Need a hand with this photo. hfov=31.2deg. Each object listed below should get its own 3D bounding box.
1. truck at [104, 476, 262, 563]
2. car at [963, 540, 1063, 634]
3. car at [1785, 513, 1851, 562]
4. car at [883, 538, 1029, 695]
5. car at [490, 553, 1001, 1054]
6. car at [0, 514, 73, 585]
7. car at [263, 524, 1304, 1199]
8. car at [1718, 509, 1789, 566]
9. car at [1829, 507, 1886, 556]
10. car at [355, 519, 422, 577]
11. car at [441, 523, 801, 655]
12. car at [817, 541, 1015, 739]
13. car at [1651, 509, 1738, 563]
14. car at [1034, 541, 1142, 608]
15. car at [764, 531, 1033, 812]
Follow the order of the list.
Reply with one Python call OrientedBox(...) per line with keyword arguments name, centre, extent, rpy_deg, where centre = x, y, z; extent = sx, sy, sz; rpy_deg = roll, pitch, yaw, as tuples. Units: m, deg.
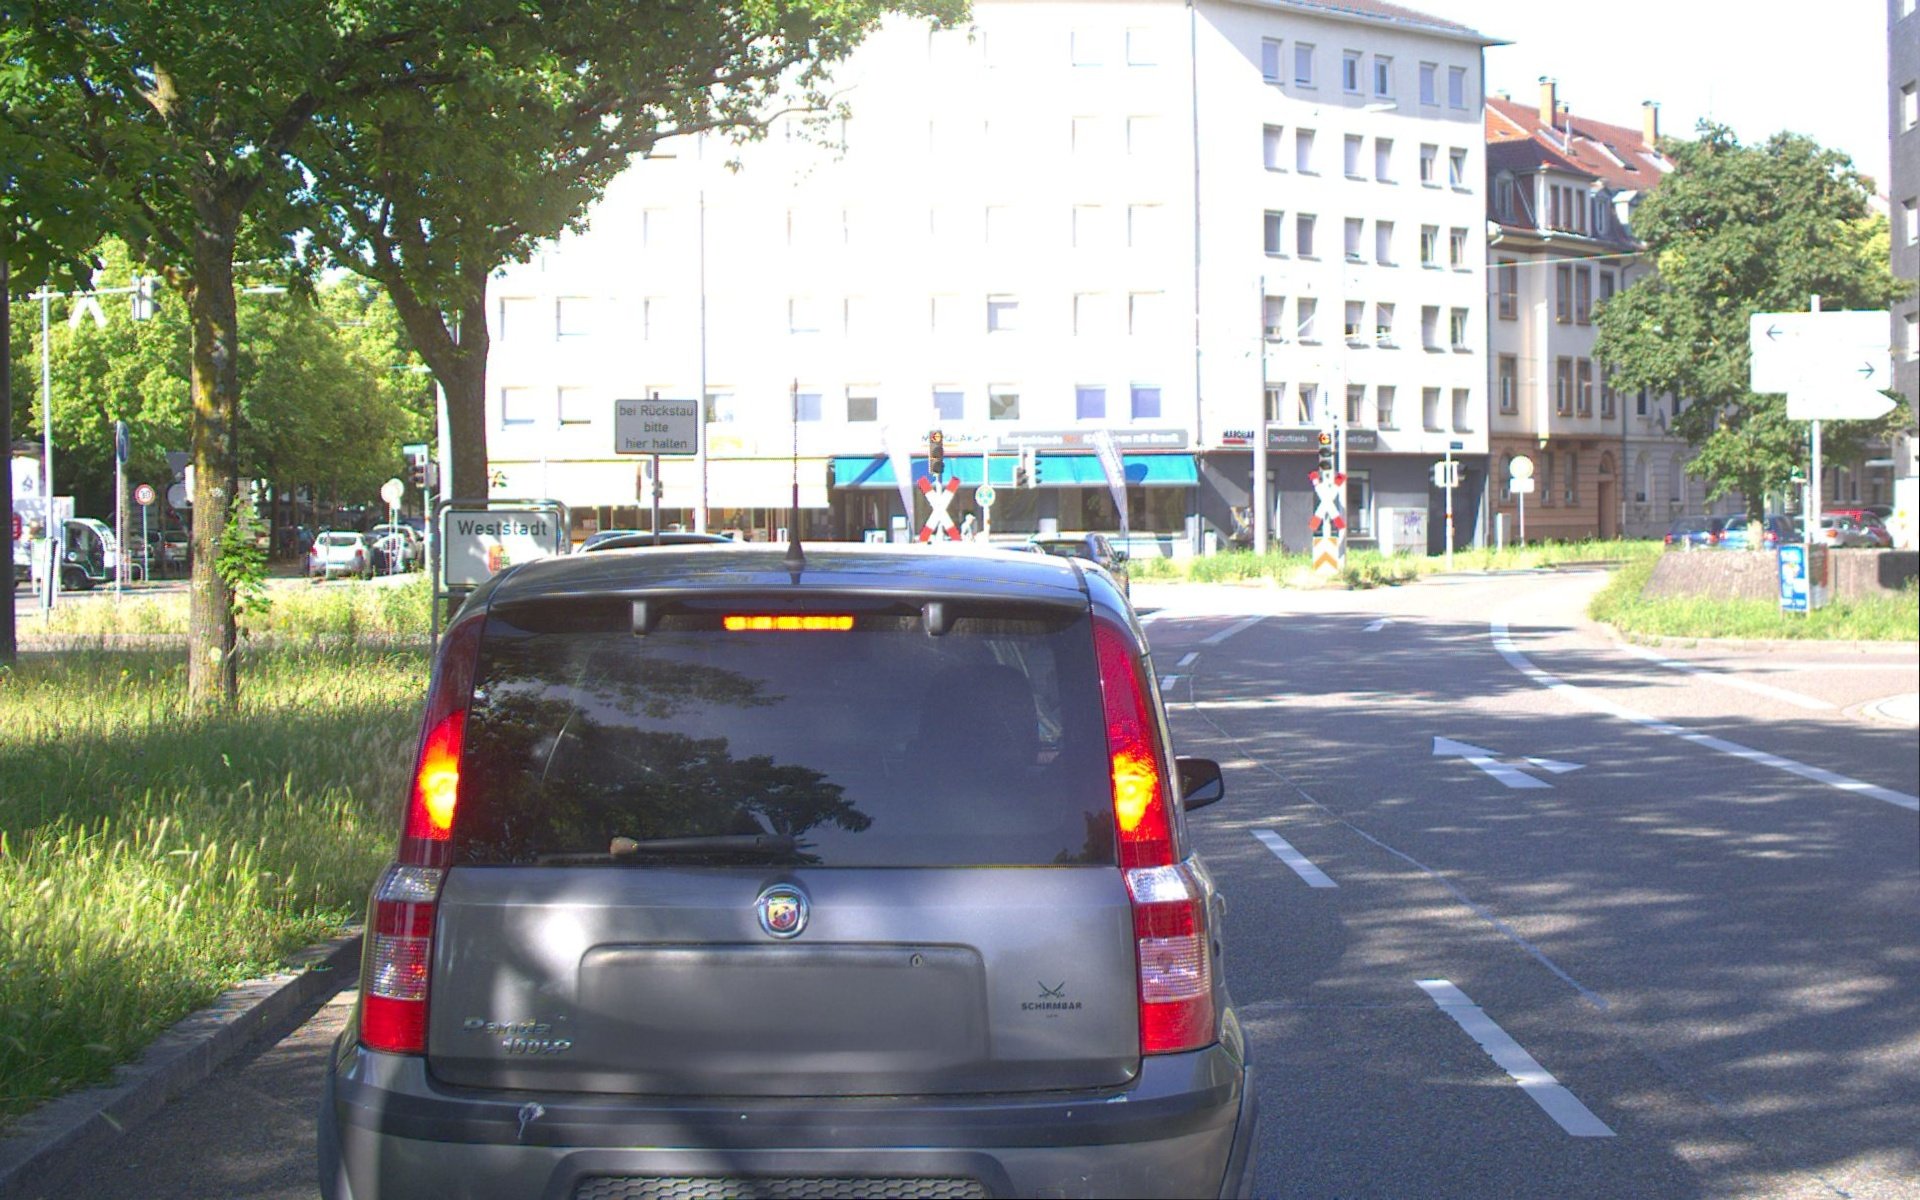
OrientedBox(name="truck", centre=(-28.886, -2.992, 127.772), extent=(5.485, 3.158, 2.340), rpy_deg=(0, 1, 28))
OrientedBox(name="car", centre=(0.749, -0.208, 49.554), extent=(1.356, 1.277, 2.876), rpy_deg=(0, 1, -1))
OrientedBox(name="car", centre=(23.446, -1.718, 93.884), extent=(1.528, 1.310, 3.285), rpy_deg=(0, 2, 18))
OrientedBox(name="car", centre=(-0.059, 0.125, 33.864), extent=(1.356, 1.444, 3.266), rpy_deg=(-1, 1, -1))
OrientedBox(name="car", centre=(-0.639, 0.566, 11.641), extent=(1.463, 1.396, 3.393), rpy_deg=(0, 1, -1))
OrientedBox(name="car", centre=(-27.647, -1.435, 98.124), extent=(4.176, 2.007, 1.932), rpy_deg=(-1, 1, -2))
OrientedBox(name="car", centre=(-0.295, 0.601, 7.419), extent=(1.628, 1.503, 4.000), rpy_deg=(-1, 1, -1))
OrientedBox(name="car", centre=(20.878, -1.660, 90.392), extent=(1.683, 1.444, 3.569), rpy_deg=(0, 1, 15))
OrientedBox(name="car", centre=(27.634, -2.118, 105.837), extent=(1.528, 1.464, 3.285), rpy_deg=(0, 2, 18))
OrientedBox(name="car", centre=(-20.521, -1.890, 123.582), extent=(1.993, 2.007, 4.001), rpy_deg=(-1, 1, -4))
OrientedBox(name="car", centre=(-4.369, -0.154, 44.750), extent=(4.446, 1.642, 1.832), rpy_deg=(0, 1, 3))
OrientedBox(name="car", centre=(-0.344, 0.270, 27.287), extent=(1.463, 1.420, 3.381), rpy_deg=(0, 2, -1))
OrientedBox(name="car", centre=(20.232, -1.768, 94.639), extent=(1.684, 1.444, 3.567), rpy_deg=(0, 2, 23))
OrientedBox(name="car", centre=(2.170, -0.435, 57.669), extent=(1.143, 1.060, 2.719), rpy_deg=(0, 1, 17))
OrientedBox(name="car", centre=(-0.357, 0.360, 20.632), extent=(1.463, 1.503, 3.505), rpy_deg=(0, 2, -1))
